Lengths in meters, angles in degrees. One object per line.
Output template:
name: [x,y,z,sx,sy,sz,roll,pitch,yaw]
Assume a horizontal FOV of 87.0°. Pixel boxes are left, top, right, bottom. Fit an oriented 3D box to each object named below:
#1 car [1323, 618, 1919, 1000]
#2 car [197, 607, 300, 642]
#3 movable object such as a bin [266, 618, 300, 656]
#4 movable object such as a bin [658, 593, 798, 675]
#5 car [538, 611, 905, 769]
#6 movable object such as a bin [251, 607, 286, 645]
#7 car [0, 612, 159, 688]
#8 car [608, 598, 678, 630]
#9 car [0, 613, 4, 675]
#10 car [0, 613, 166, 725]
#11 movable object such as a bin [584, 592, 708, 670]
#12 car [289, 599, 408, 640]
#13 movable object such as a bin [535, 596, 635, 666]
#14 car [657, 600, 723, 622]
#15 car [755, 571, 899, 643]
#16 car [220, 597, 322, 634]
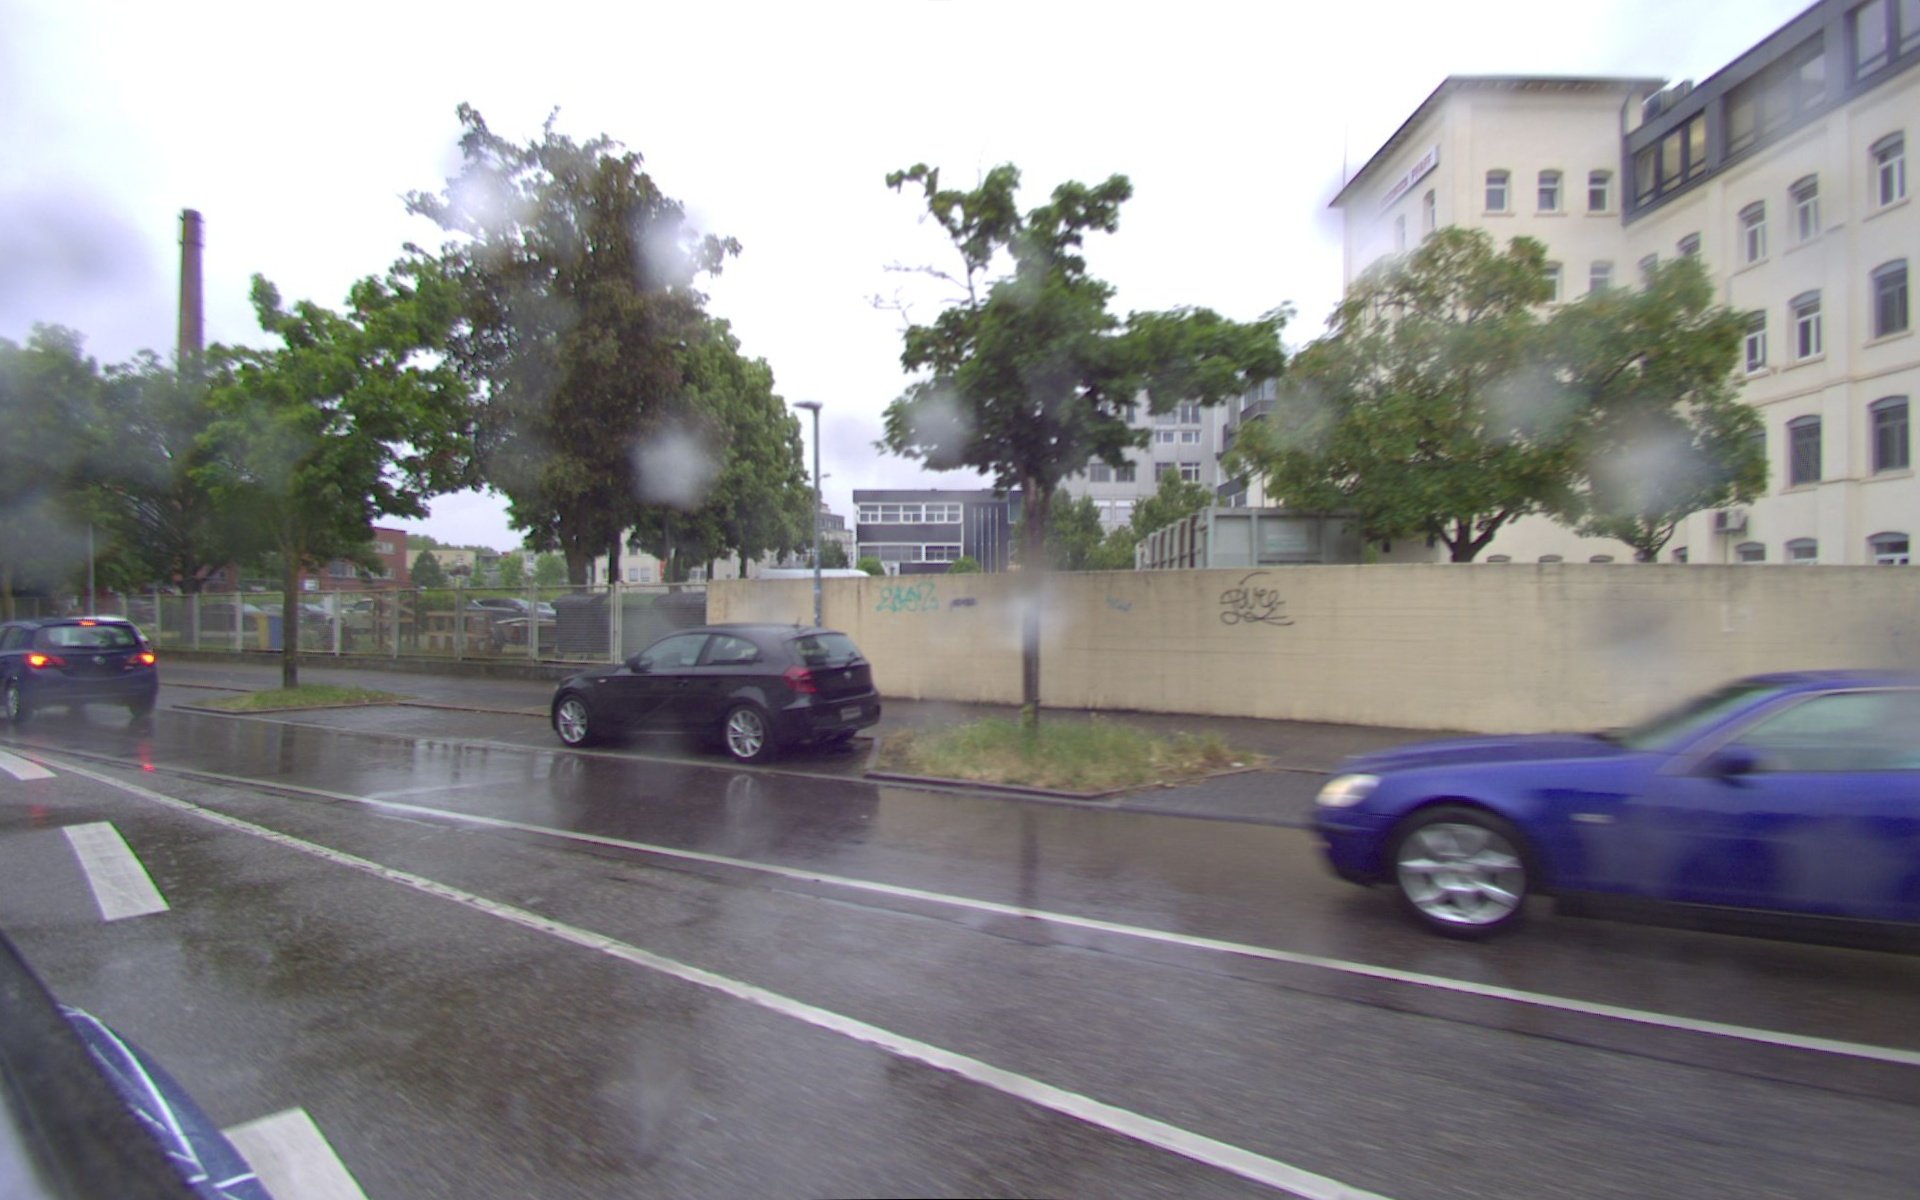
car: [3.874,0.832,4.632,3.935,1.404,1.715,0,-3,30]
car: [-35.542,1.194,50.600,3.944,1.683,1.771,0,0,0]
movable object such as a bin: [-17.823,0.974,26.647,0.636,0.956,0.533,0,0,33]
movable object such as a bin: [-4.330,0.581,19.010,1.751,1.435,1.895,0,0,32]
car: [-2.786,0.888,11.557,4.083,1.456,1.683,0,1,31]
movable object such as a bin: [-18.461,0.692,27.019,0.711,0.993,0.542,0,0,33]
car: [-19.980,1.044,22.604,4.663,1.471,1.761,0,0,31]
car: [-20.544,0.924,65.717,3.945,2.029,1.999,0,0,1]
car: [-27.014,1.156,26.657,3.782,1.610,1.613,0,0,29]
car: [-14.059,0.976,15.478,3.932,1.512,1.693,0,-3,31]
movable object such as a bin: [-6.185,0.570,19.979,1.826,1.452,1.547,0,0,33]
car: [-26.523,0.832,44.015,3.944,1.683,2.067,0,0,0]
movable object such as a bin: [-7.725,0.609,20.873,1.259,1.378,1.480,0,0,32]
car: [-18.258,0.726,68.596,3.944,1.453,2.000,0,0,1]
car: [-4.511,0.228,34.871,4.657,2.414,2.148,0,0,2]
car: [-35.943,0.781,52.867,3.943,1.896,2.000,0,0,0]
